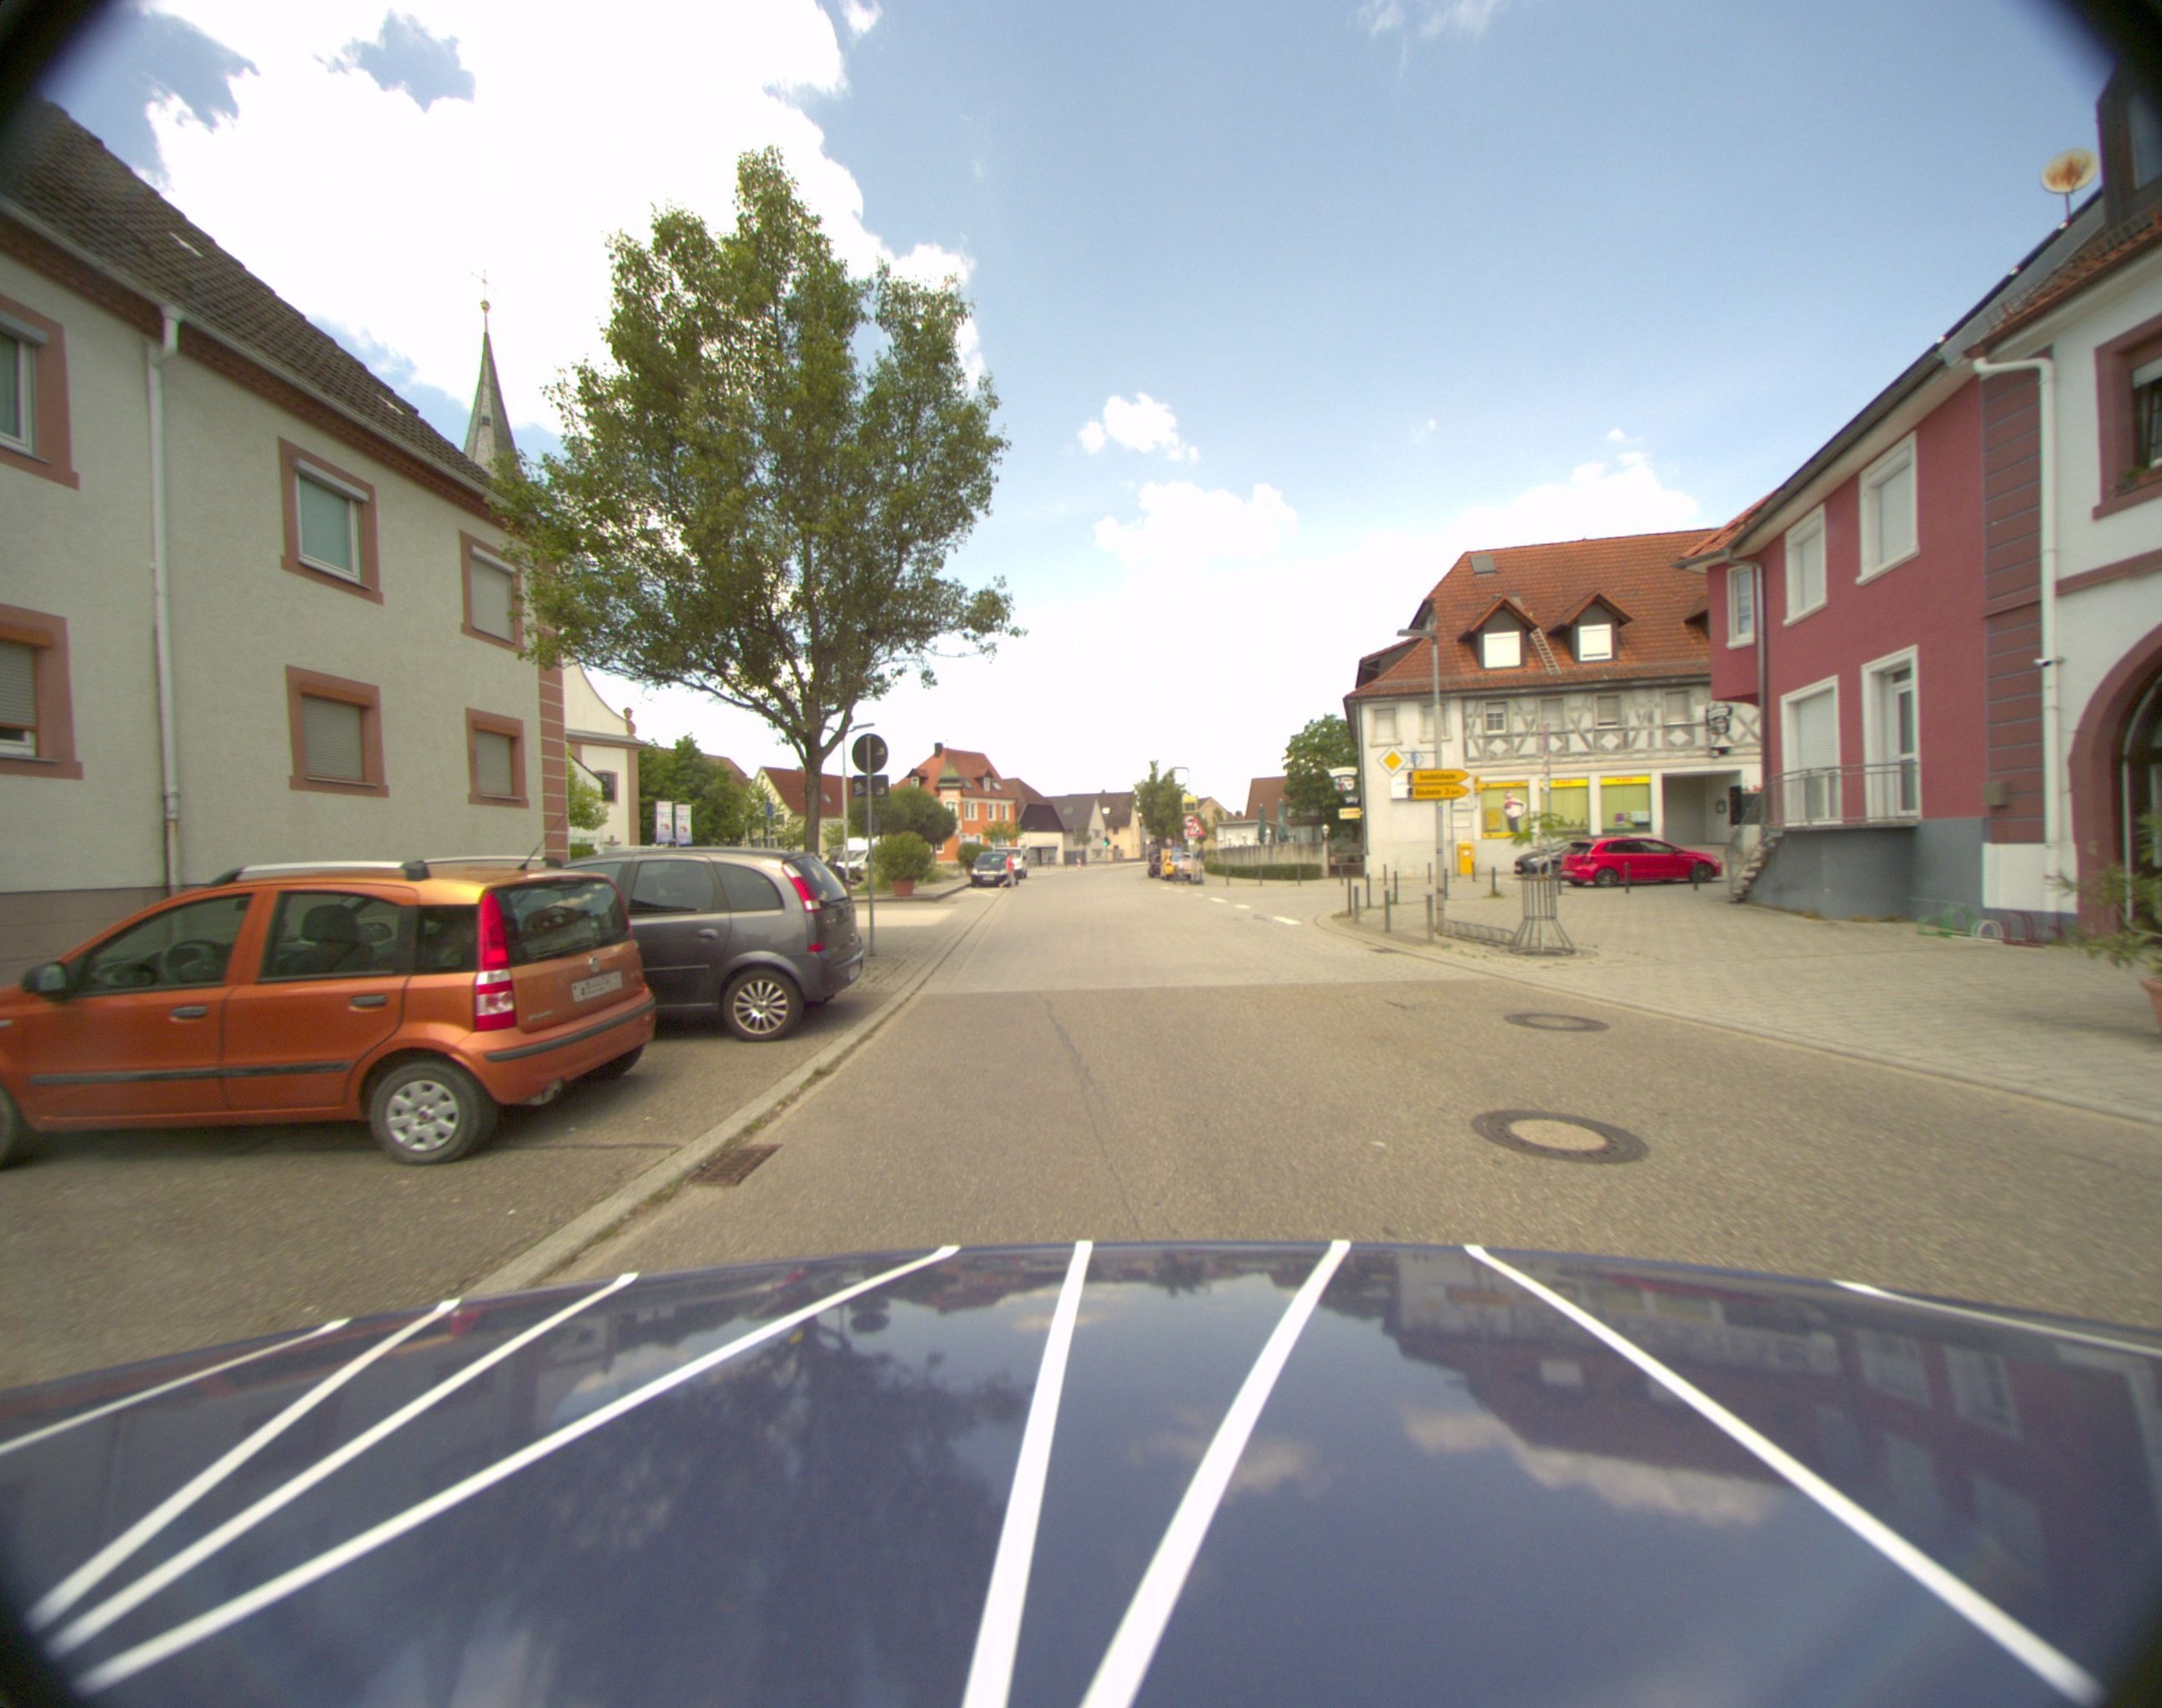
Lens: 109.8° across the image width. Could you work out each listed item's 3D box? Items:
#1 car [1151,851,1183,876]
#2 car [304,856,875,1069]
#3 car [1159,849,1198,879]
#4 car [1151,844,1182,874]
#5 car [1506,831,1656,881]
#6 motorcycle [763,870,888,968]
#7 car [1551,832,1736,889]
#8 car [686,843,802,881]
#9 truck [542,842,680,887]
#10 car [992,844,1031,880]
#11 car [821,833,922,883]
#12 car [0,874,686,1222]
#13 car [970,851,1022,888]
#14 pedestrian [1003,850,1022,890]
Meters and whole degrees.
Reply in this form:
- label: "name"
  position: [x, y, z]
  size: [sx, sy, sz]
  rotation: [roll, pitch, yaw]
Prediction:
- label: "car"
  position: [5.250, 0.545, 46.783]
  size: [1.820, 1.415, 4.538]
  rotation: [-2, 0, 5]
- label: "car"
  position: [-4.009, 0.829, 6.823]
  size: [3.859, 1.568, 1.850]
  rotation: [-1, 1, -4]
- label: "car"
  position: [5.176, 0.481, 40.607]
  size: [1.672, 1.466, 3.963]
  rotation: [-2, 0, 2]
- label: "car"
  position: [6.166, 0.286, 54.583]
  size: [1.990, 1.979, 5.047]
  rotation: [-2, 0, 8]
- label: "car"
  position: [17.246, 0.052, 26.397]
  size: [3.948, 1.509, 1.774]
  rotation: [-2, 1, 10]
- label: "motorcycle"
  position: [-4.112, 0.975, 12.120]
  size: [2.219, 1.387, 0.874]
  rotation: [-1, 1, 43]
- label: "car"
  position: [15.996, 0.172, 21.798]
  size: [3.882, 1.404, 1.784]
  rotation: [-2, 1, 7]
- label: "car"
  position: [-23.994, 0.529, 54.366]
  size: [6.978, 2.463, 2.646]
  rotation: [-3, 1, -44]
- label: "truck"
  position: [-28.481, 0.619, 46.163]
  size: [6.813, 2.483, 2.960]
  rotation: [-2, 1, 11]
- label: "car"
  position: [-4.276, 0.454, 47.449]
  size: [1.947, 2.165, 5.100]
  rotation: [0, 1, 0]
- label: "car"
  position: [-13.206, 0.171, 48.692]
  size: [2.756, 2.946, 7.121]
  rotation: [-1, 1, 17]
- label: "car"
  position: [-4.520, 0.968, 4.521]
  size: [3.385, 1.568, 1.726]
  rotation: [-1, 1, 0]
- label: "car"
  position: [-3.823, 0.677, 34.913]
  size: [1.773, 1.555, 4.418]
  rotation: [0, 1, 1]
- label: "pedestrian"
  position: [-2.820, 0.663, 31.232]
  size: [0.640, 1.619, 0.620]
  rotation: [-2, 1, 2]
